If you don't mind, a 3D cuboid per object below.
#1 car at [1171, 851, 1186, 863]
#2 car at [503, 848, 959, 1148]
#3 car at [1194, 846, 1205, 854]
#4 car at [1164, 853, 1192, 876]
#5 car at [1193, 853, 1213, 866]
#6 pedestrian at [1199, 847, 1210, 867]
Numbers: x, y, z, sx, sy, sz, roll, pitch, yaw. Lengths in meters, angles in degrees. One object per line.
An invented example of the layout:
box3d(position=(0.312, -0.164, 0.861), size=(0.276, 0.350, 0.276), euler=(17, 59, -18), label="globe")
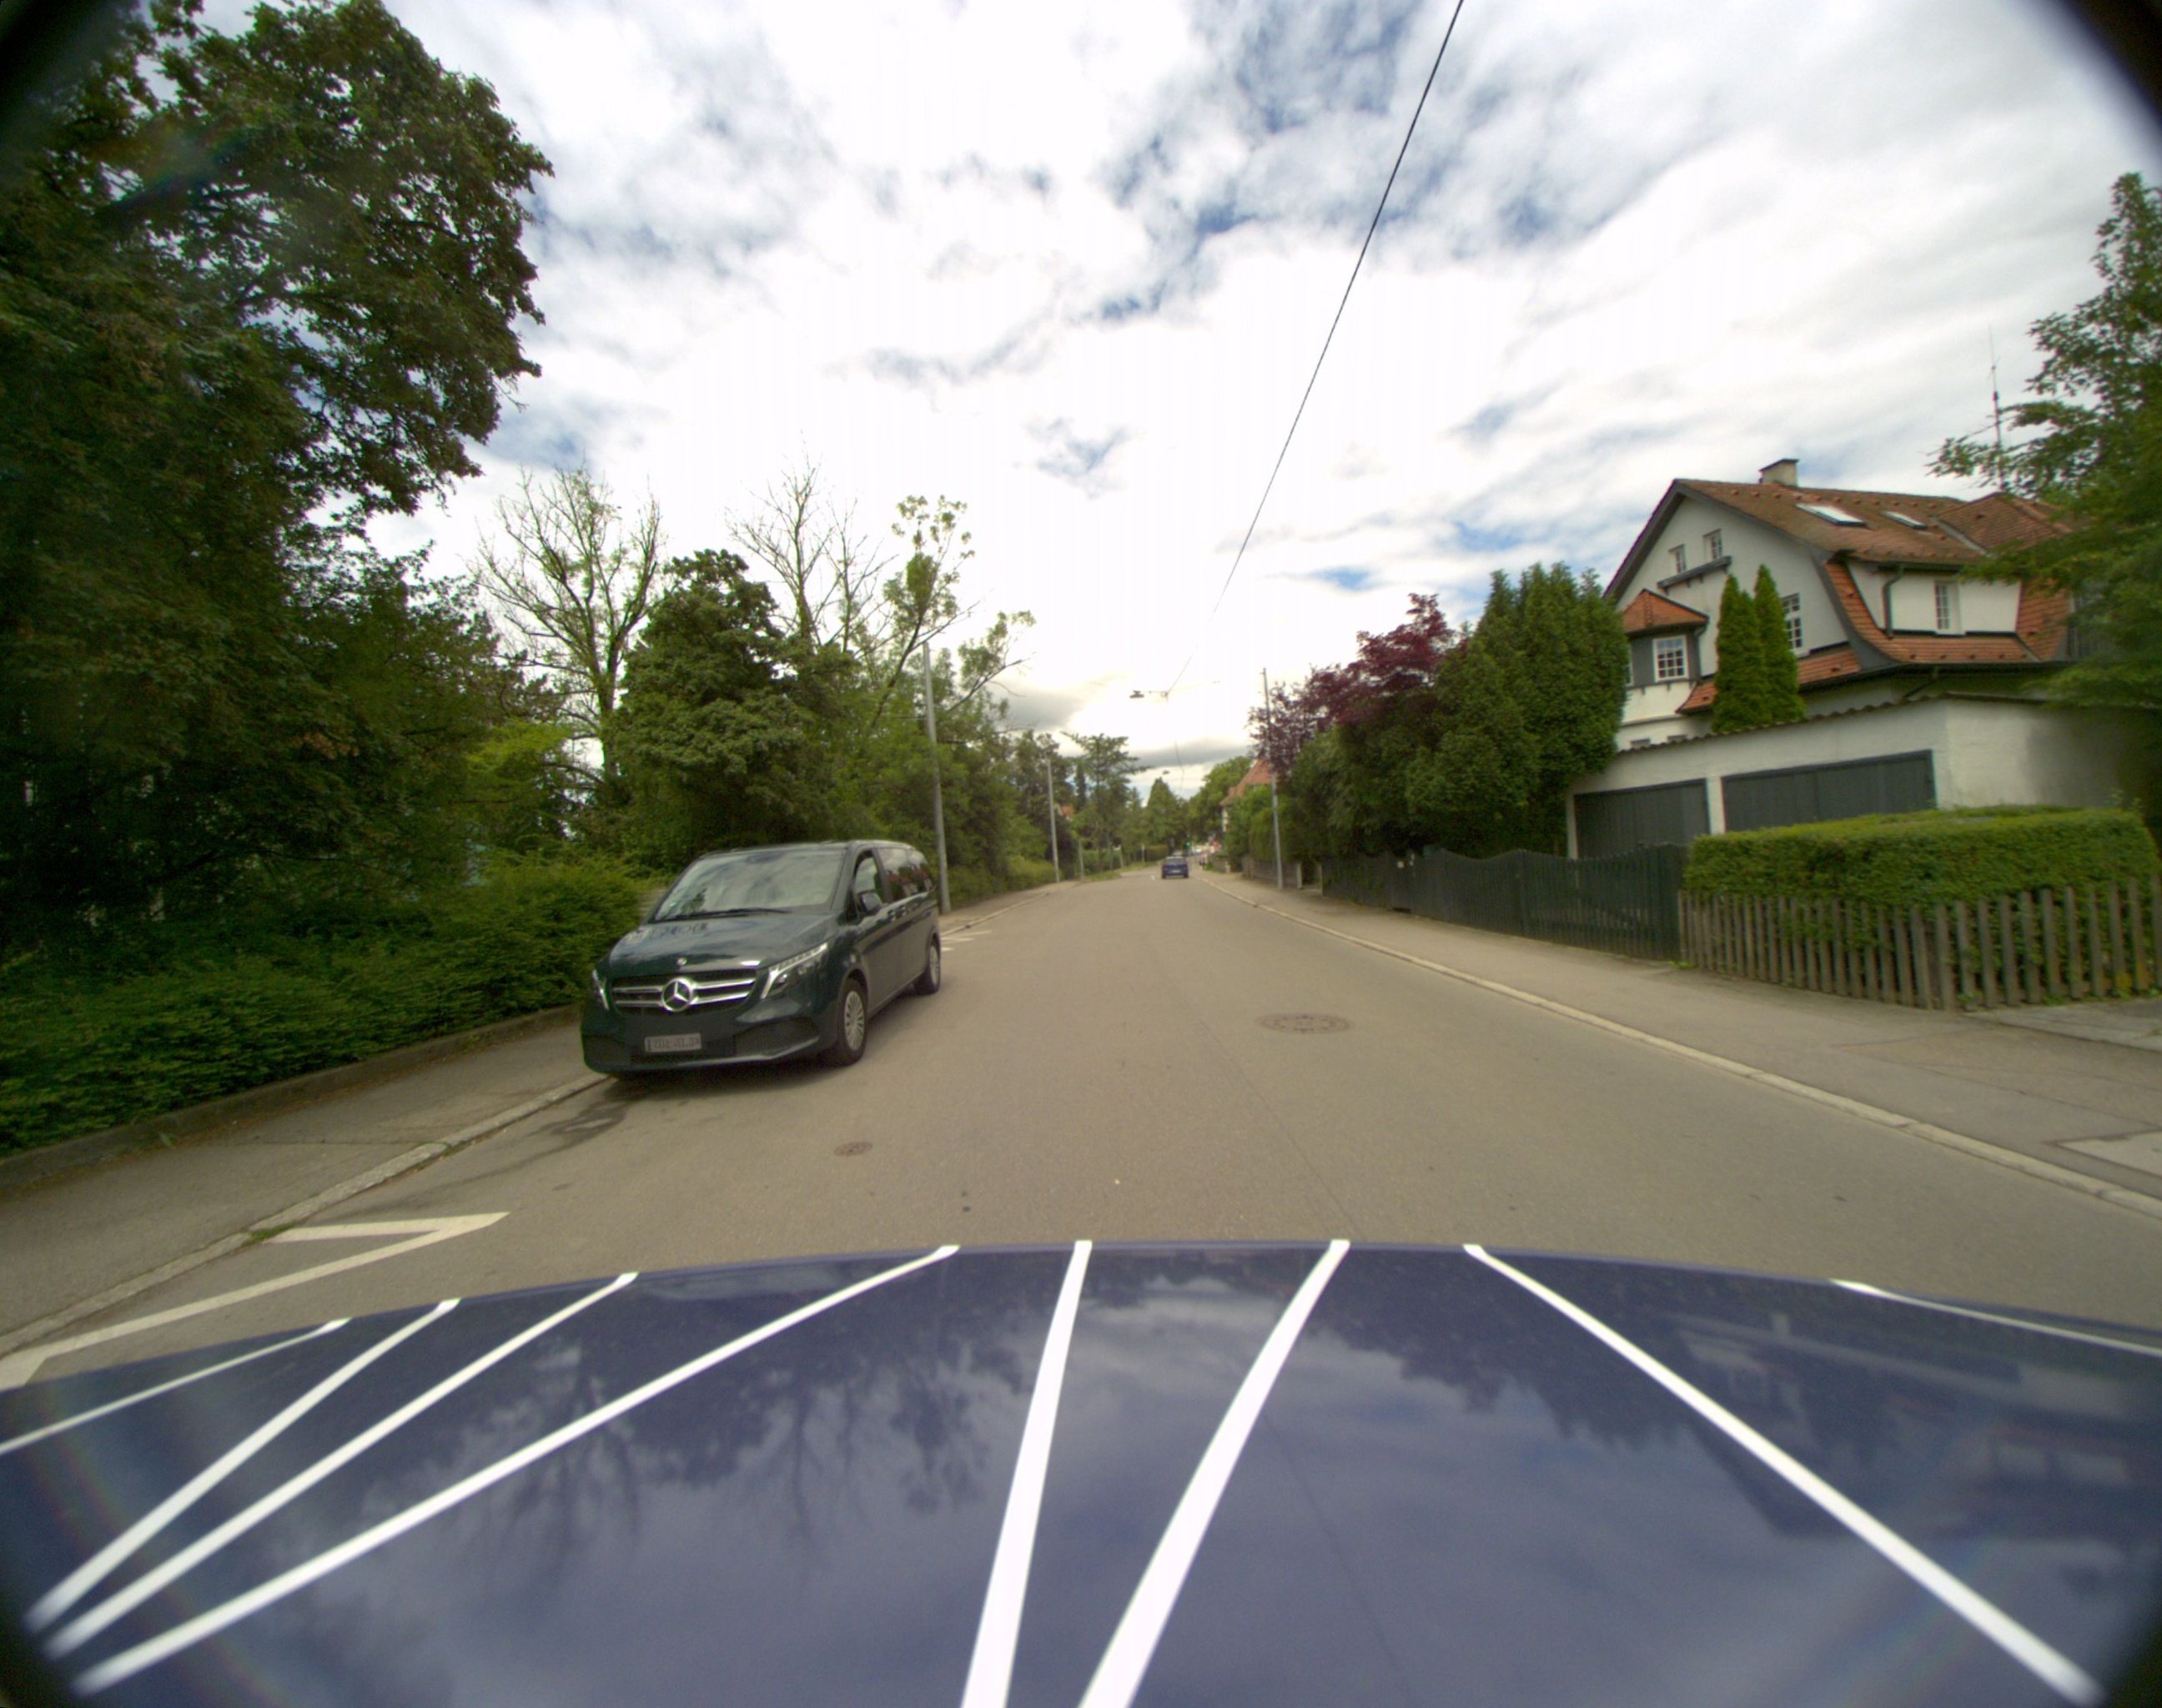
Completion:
box3d(position=(13.792, 0.451, 107.715), size=(1.844, 1.646, 4.139), euler=(-1, 1, 4), label="car")
box3d(position=(-2.698, 0.938, 7.531), size=(1.914, 1.837, 5.158), euler=(-4, 0, 1), label="car")
box3d(position=(26.021, -0.906, 166.558), size=(1.998, 1.686, 4.001), euler=(-6, 0, 6), label="car")
box3d(position=(6.546, 0.693, 51.261), size=(1.697, 1.423, 3.929), euler=(-3, 0, 8), label="car")
box3d(position=(14.802, 0.655, 92.040), size=(1.821, 1.343, 3.395), euler=(-6, 0, 17), label="car")
box3d(position=(11.512, 0.293, 70.633), size=(0.821, 1.734, 0.604), euler=(-6, 1, 7), label="pedestrian")
